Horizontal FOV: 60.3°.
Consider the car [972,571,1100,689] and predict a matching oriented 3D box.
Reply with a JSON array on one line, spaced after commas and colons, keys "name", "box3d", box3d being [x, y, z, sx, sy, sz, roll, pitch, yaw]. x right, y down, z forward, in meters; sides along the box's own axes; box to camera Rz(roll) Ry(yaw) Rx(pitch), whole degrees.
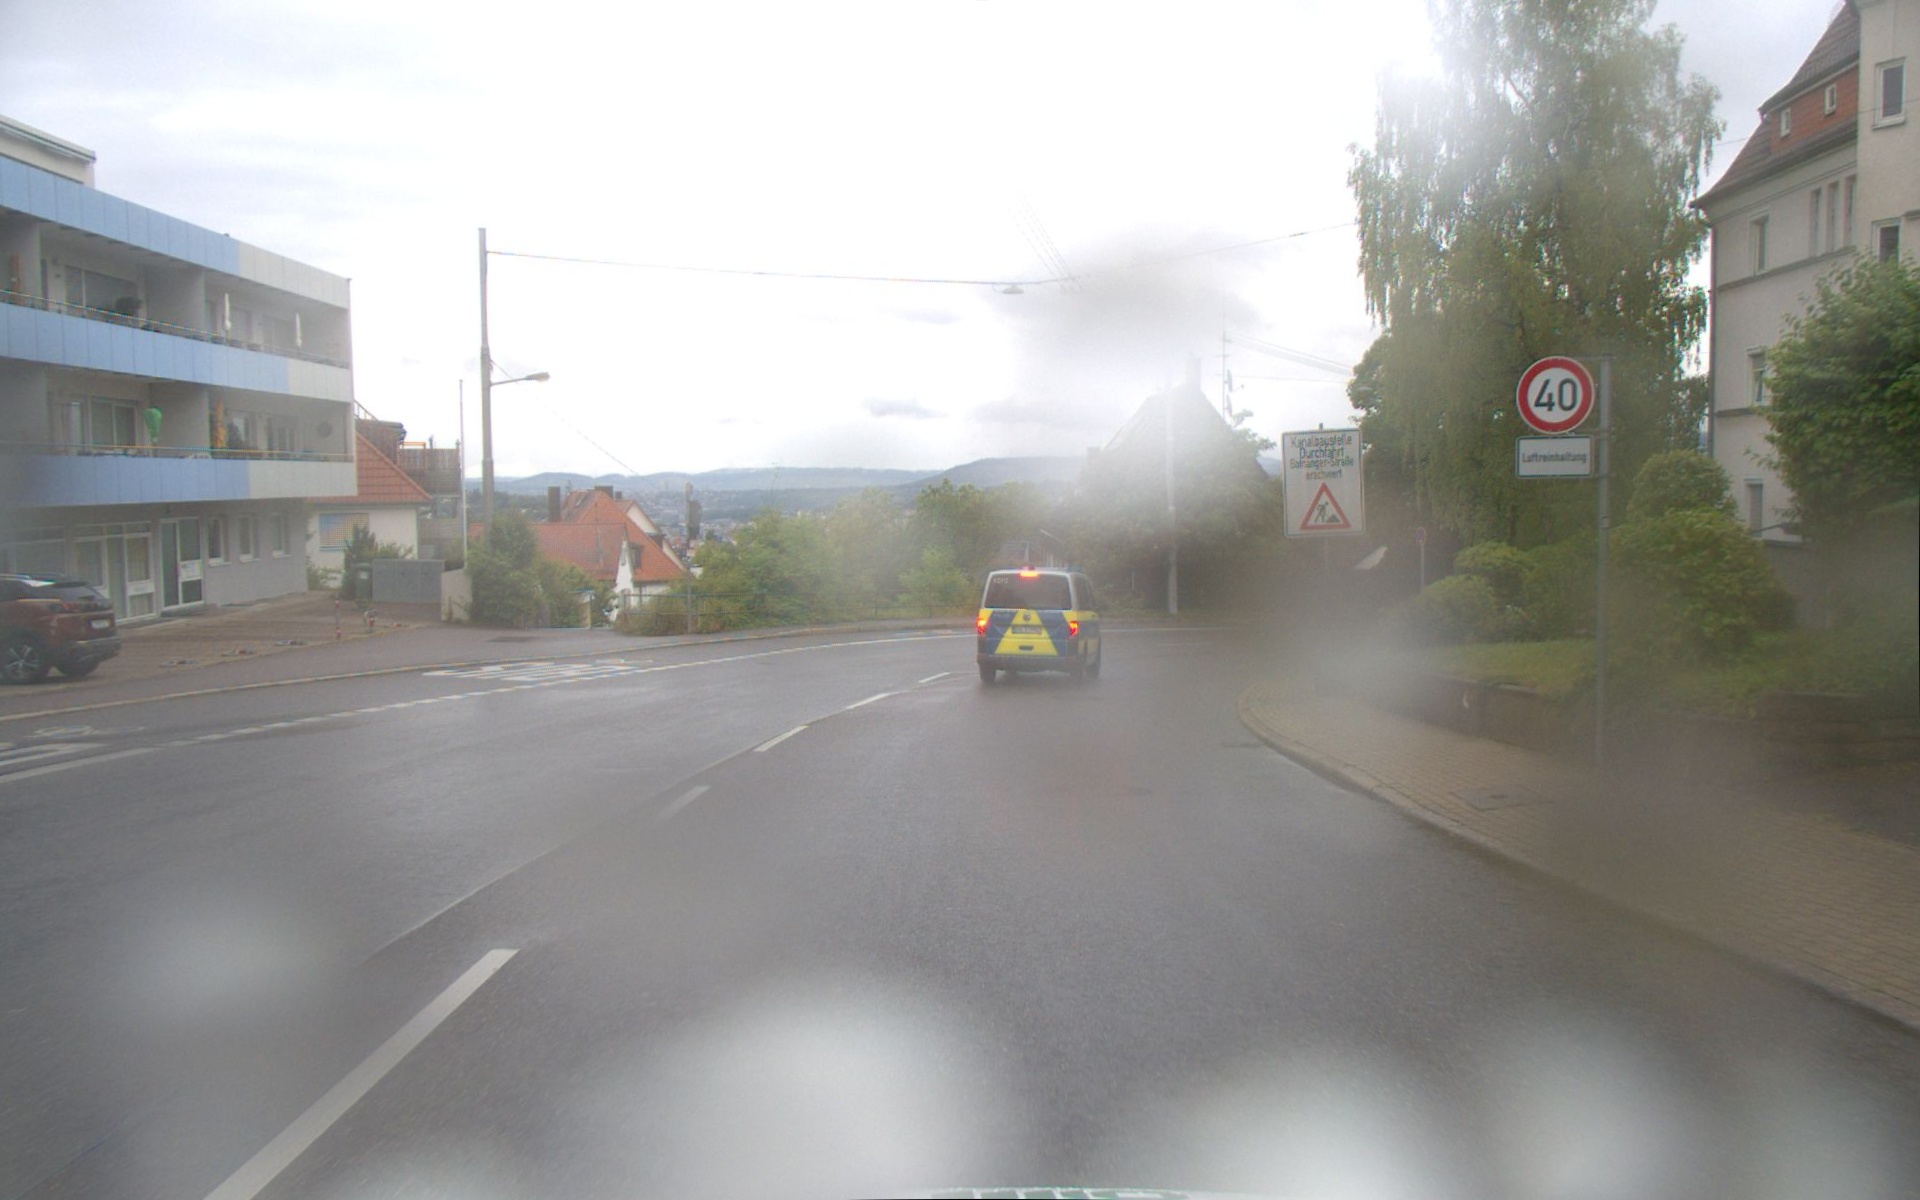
[{"name": "car", "box3d": [1.461, 0.487, 29.956, 1.951, 1.926, 4.573, 1, 0, 7]}]

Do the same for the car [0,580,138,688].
[{"name": "car", "box3d": [-14.891, 0.514, 25.178, 3.845, 1.577, 1.714, -1, 0, -4]}]

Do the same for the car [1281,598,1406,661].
[{"name": "car", "box3d": [9.693, 0.716, 41.597, 1.758, 1.471, 4.094, 1, 0, 33]}]
